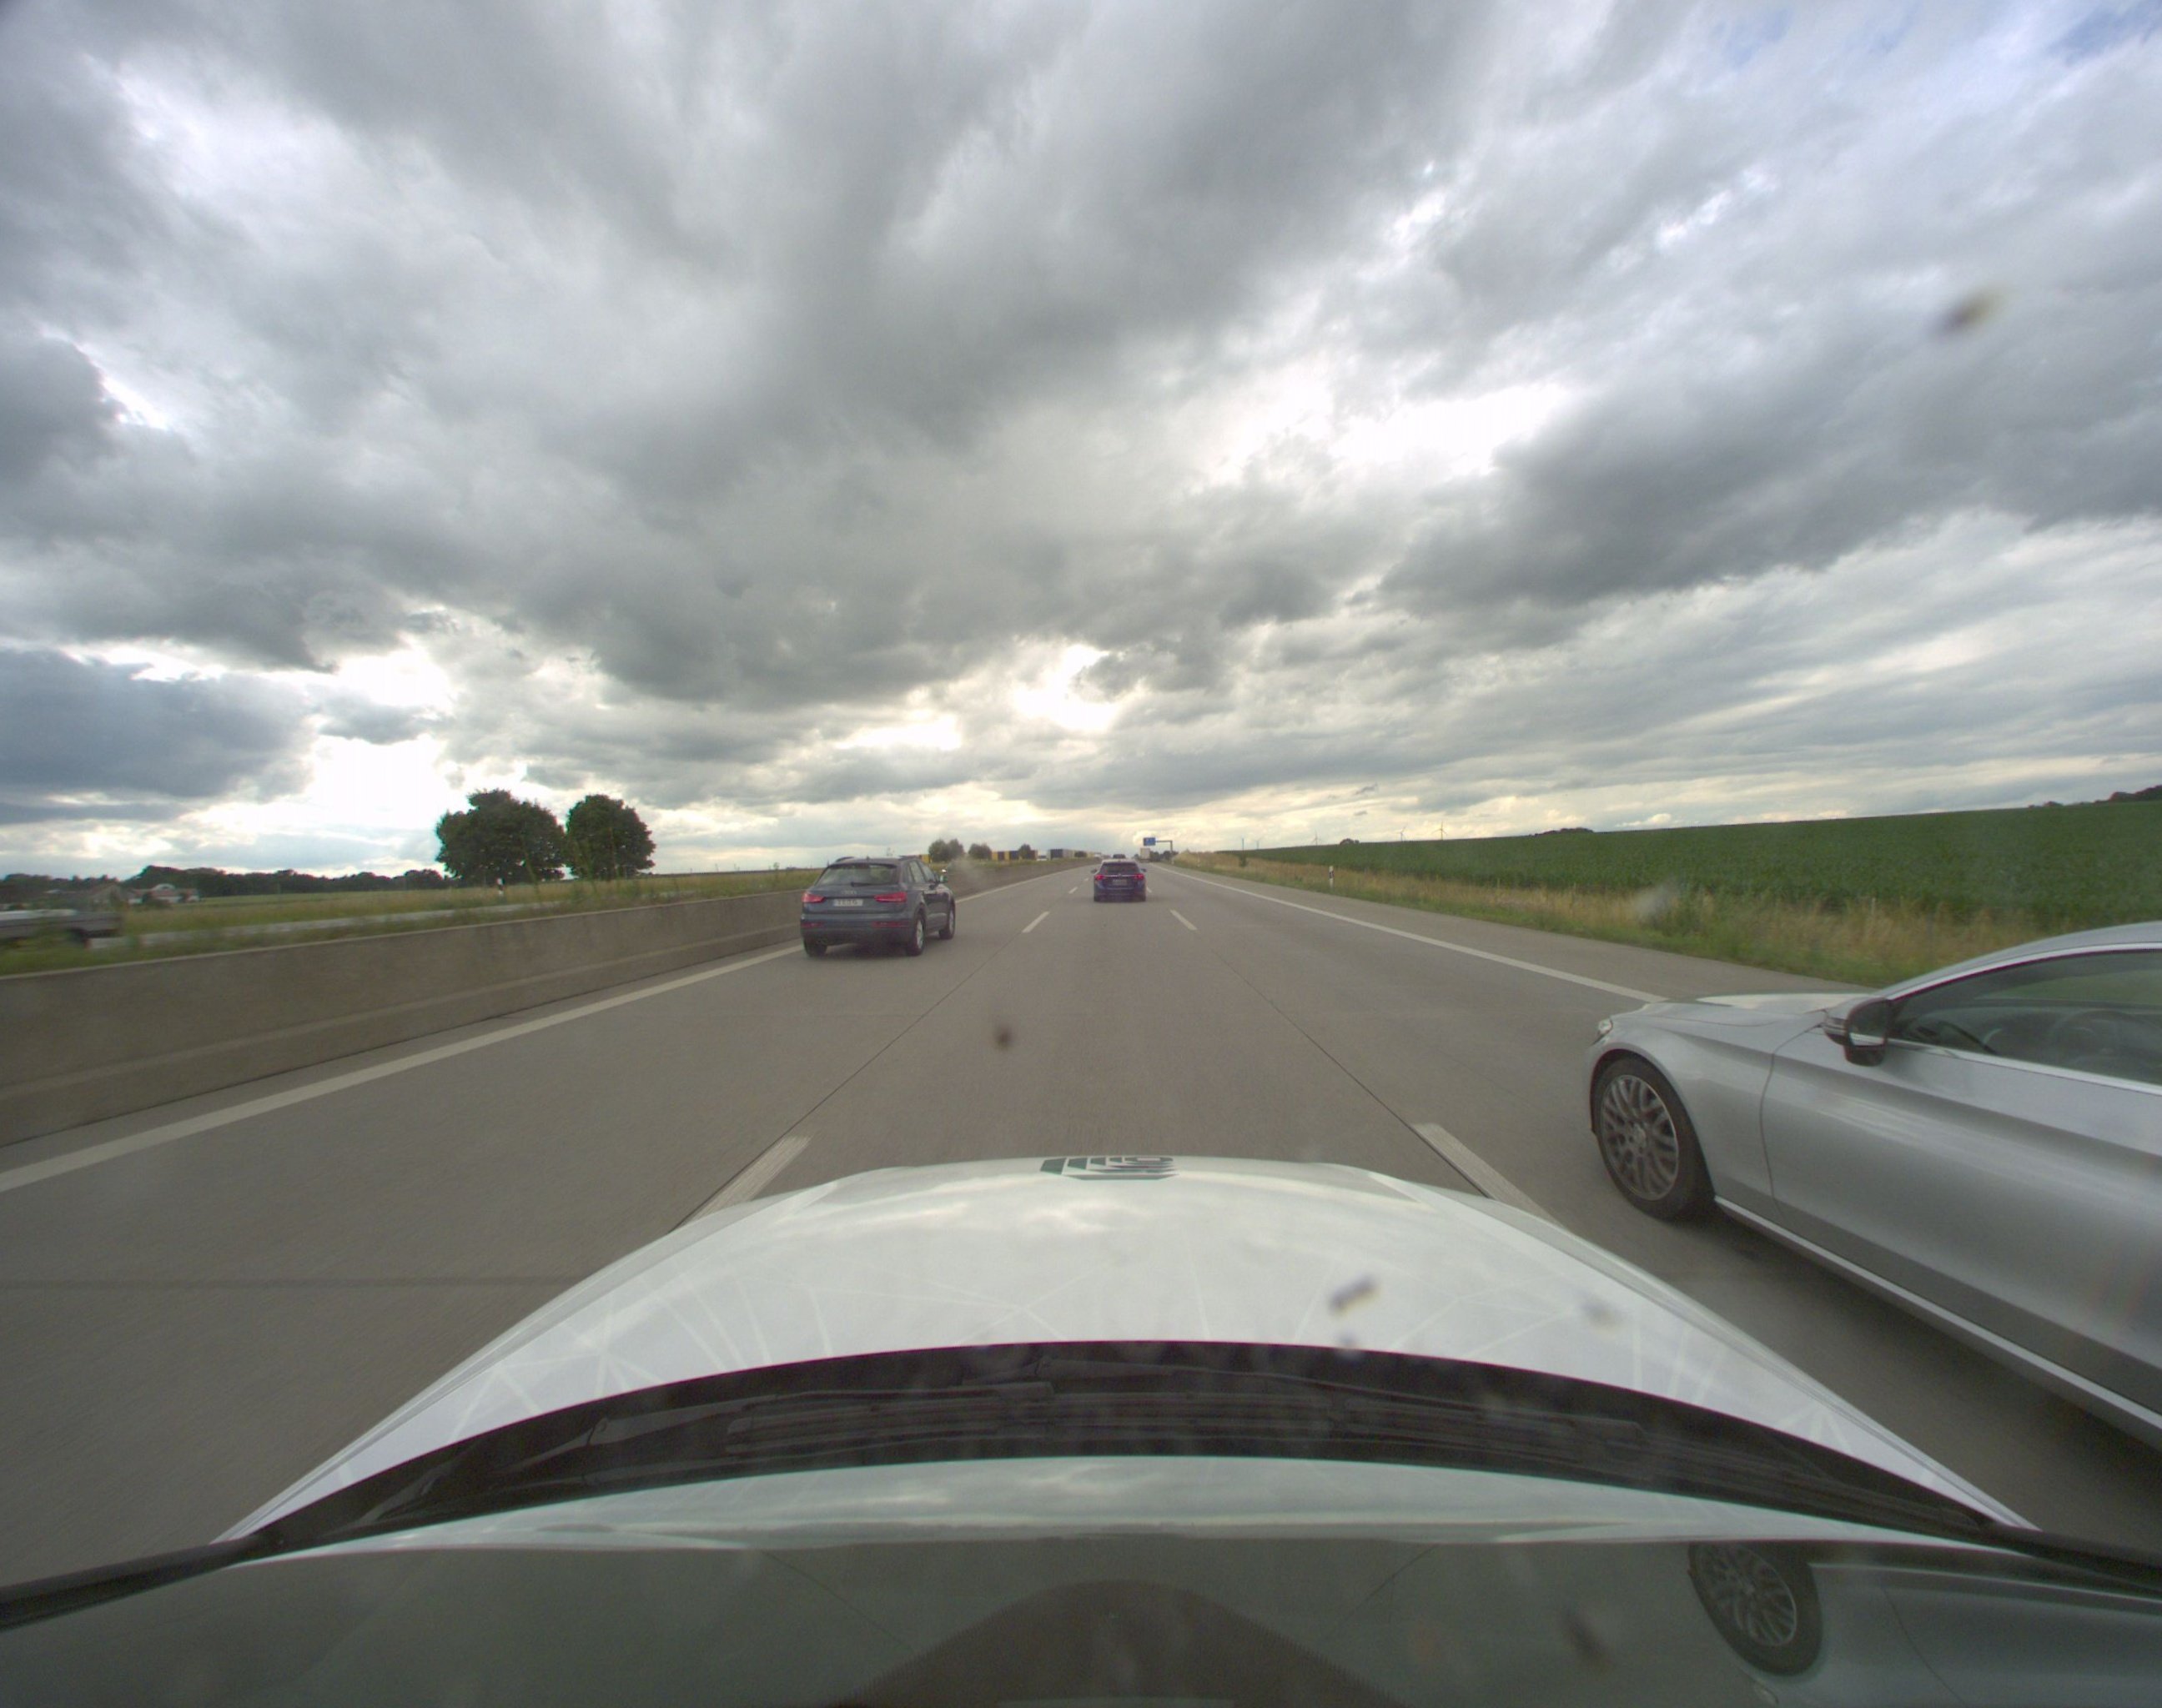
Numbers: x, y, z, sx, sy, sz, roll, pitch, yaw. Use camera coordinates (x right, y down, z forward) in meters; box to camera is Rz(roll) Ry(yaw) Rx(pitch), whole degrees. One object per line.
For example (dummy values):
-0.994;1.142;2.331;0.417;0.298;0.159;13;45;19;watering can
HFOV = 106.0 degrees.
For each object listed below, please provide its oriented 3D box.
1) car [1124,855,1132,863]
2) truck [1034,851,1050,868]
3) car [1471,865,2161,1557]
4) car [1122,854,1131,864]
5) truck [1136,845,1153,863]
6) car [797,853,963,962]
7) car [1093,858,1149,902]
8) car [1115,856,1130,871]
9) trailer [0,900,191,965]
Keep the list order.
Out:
13.223;1.441;227.445;1.987;2.014;3.999;0;-1;0;car
-7.794;1.145;164.501;2.347;3.328;7.304;0;-1;4;truck
3.152;0.755;2.688;1.782;1.403;4.222;-1;-1;1;car
9.974;1.058;178.543;1.986;2.014;4.001;0;0;1;car
17.696;0.108;228.736;3.937;4.756;12.073;0;-1;0;truck
-3.307;0.792;14.497;1.788;1.596;5.154;0;0;-1;car
1.335;0.859;28.699;1.769;1.413;3.999;-1;-1;0;car
5.827;1.370;114.566;1.986;2.014;4.001;0;-1;1;car
-19.019;1.399;14.764;1.780;0.983;3.564;0;-1;2;trailer
